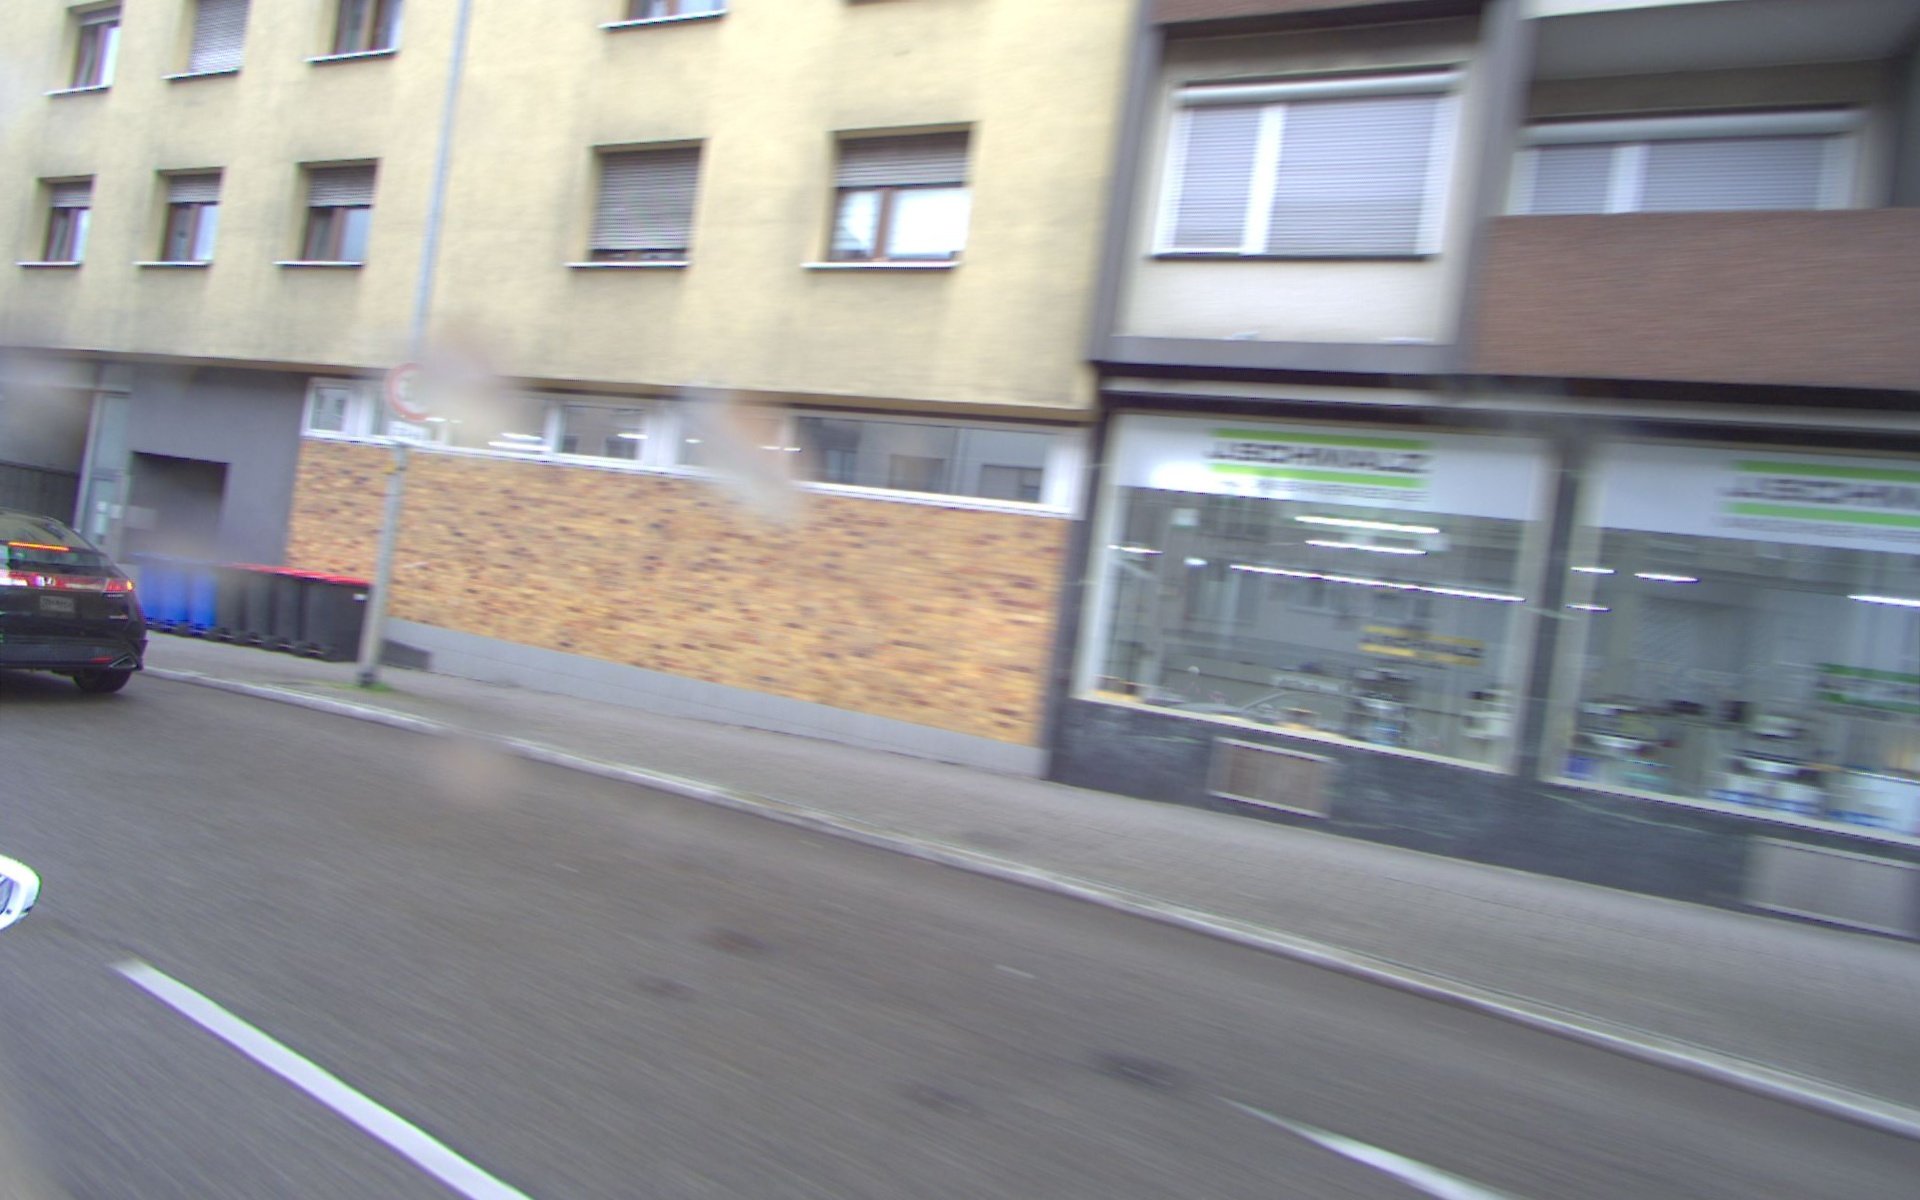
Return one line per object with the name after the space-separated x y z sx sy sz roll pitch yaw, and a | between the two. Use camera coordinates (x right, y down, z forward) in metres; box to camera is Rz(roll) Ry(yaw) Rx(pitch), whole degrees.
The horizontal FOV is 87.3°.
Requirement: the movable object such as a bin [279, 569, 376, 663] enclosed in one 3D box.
-8.109 0.216 12.909 0.656 1.089 0.683 7 -1 21 | movable object such as a bin

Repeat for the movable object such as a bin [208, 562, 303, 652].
-9.365 0.104 13.391 0.656 1.089 0.683 7 -1 21 | movable object such as a bin

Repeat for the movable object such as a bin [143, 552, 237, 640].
-10.611 -0.044 13.868 0.656 1.089 0.683 7 -1 21 | movable object such as a bin

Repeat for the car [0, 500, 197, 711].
-8.624 -0.129 8.348 3.982 1.514 1.790 6 -2 23 | car

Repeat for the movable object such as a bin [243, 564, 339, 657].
-8.737 0.146 13.145 0.656 1.089 0.683 7 -1 21 | movable object such as a bin

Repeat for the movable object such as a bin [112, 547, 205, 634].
-11.245 -0.127 14.124 0.656 1.089 0.683 7 -1 21 | movable object such as a bin

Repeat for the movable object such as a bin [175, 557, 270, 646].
-9.986 0.034 13.631 0.656 1.089 0.683 7 -1 21 | movable object such as a bin
